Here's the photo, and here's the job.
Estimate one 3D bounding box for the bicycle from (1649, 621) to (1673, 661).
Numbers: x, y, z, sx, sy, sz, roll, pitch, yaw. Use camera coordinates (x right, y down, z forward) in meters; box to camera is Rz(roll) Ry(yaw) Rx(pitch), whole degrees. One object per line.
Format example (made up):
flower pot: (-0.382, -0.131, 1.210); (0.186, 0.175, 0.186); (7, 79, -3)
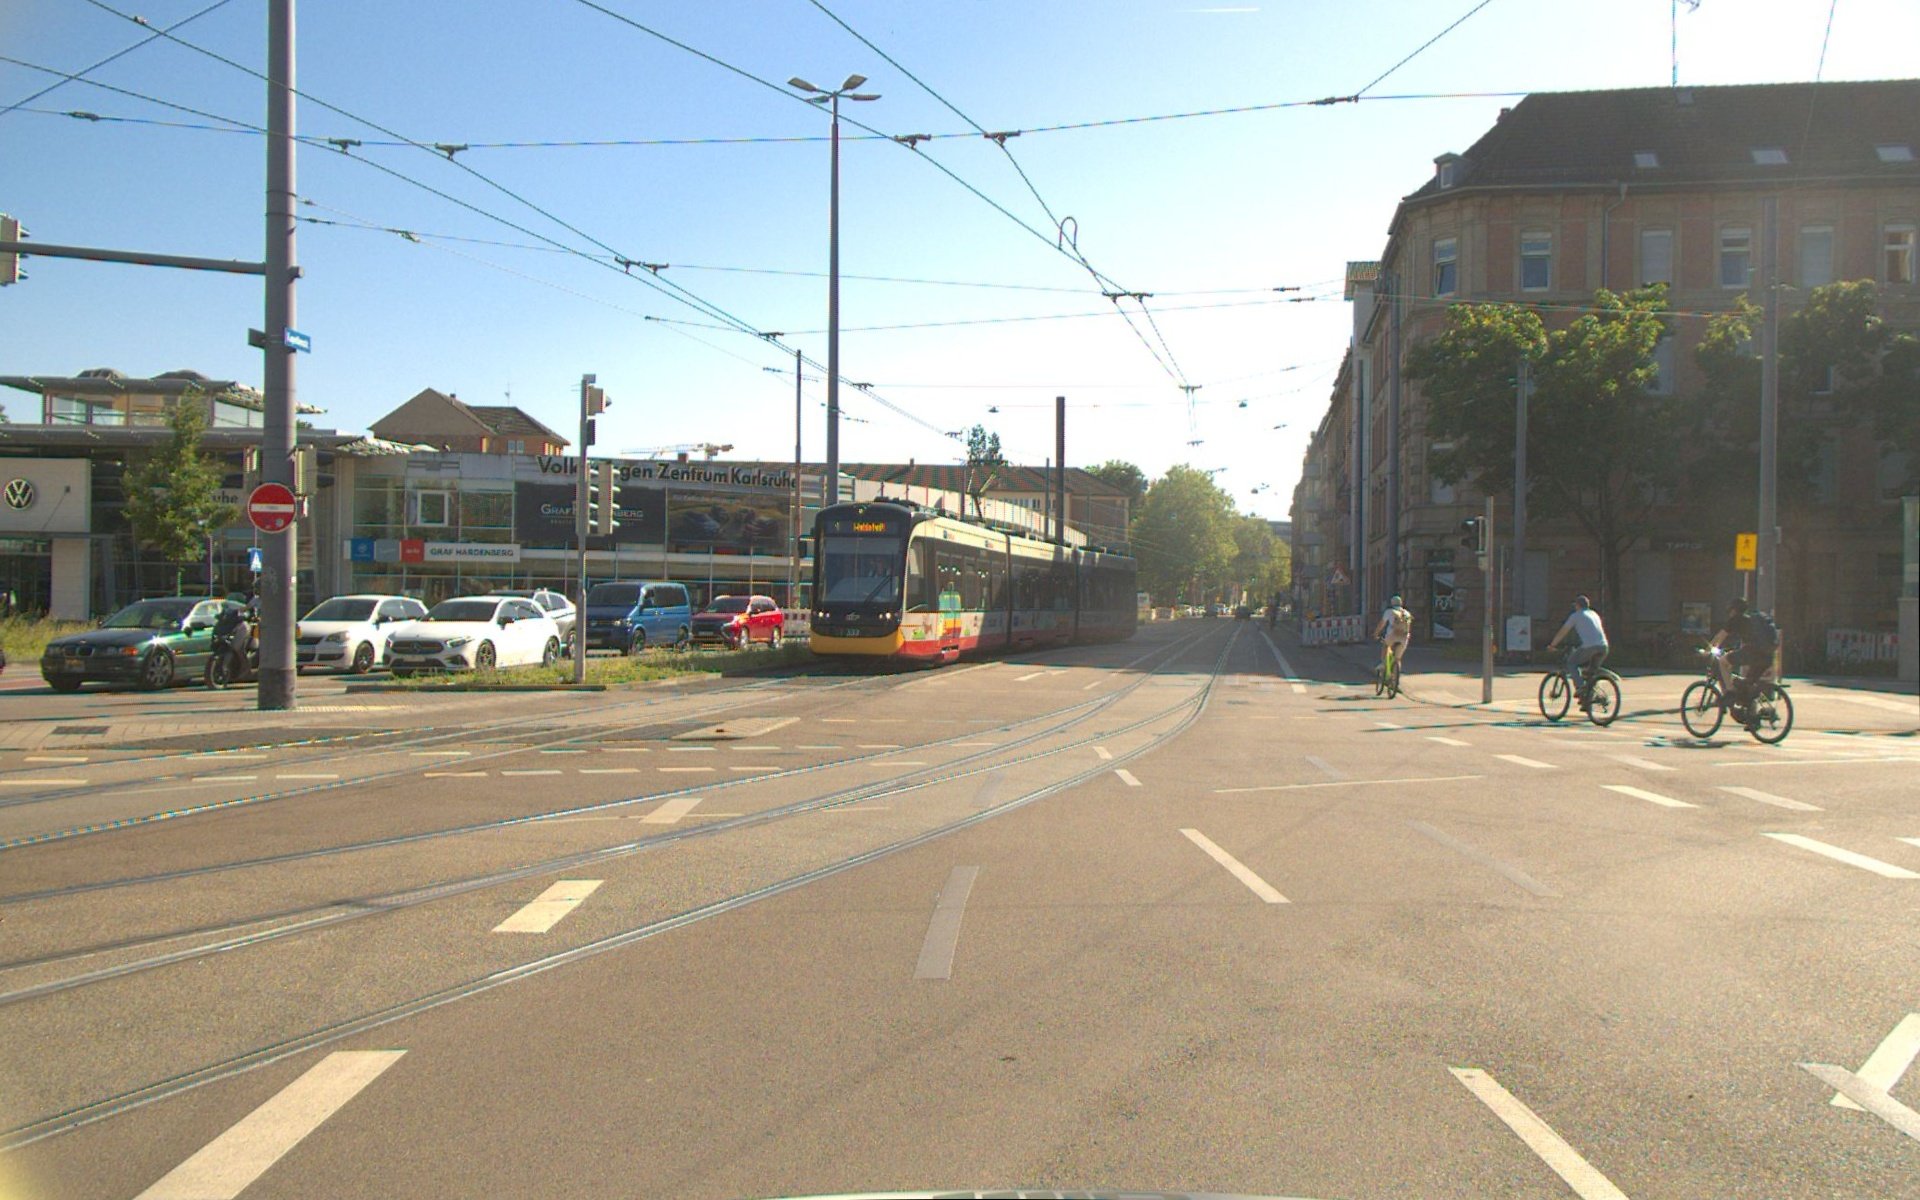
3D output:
bicycle: (19.738, 1.147, 46.564); (0.394, 1.080, 1.483); (2, 0, 15)

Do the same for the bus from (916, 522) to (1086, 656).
bus: (1.522, -0.297, 51.279); (2.780, 3.652, 10.733); (1, 0, 15)

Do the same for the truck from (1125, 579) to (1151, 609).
truck: (18.749, -0.600, 174.201); (2.484, 2.879, 6.380); (2, 0, 6)

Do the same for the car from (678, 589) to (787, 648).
car: (-7.048, 0.585, 51.666); (1.761, 1.749, 4.419); (0, -1, 15)

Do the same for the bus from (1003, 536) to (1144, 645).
bus: (4.464, -0.312, 61.932); (2.781, 3.652, 11.277); (1, 0, 17)

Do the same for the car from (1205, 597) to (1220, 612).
car: (32.124, 0.605, 210.439); (1.721, 1.726, 4.147); (2, 0, 11)

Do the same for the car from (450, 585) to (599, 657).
car: (-10.167, 0.496, 38.952); (1.764, 1.606, 4.168); (0, -1, 11)

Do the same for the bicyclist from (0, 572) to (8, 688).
bicyclist: (-14.905, 0.454, 25.049); (0.562, 1.772, 0.602); (2, 2, 10)

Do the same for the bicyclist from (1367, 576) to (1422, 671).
bicyclist: (8.098, 0.436, 30.861); (0.667, 1.713, 1.120); (2, -1, 0)

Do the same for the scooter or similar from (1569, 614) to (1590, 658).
scooter or similar: (17.533, 1.003, 46.798); (0.264, 1.206, 1.566); (2, 0, 11)

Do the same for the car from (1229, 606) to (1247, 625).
car: (31.628, 1.809, 188.104); (1.951, 2.049, 4.003); (2, 0, 11)

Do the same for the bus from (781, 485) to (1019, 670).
bus: (-0.988, -0.452, 39.706); (2.780, 3.652, 13.507); (1, 0, 10)

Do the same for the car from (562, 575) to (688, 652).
car: (-8.915, 0.360, 44.322); (1.764, 1.967, 4.168); (0, -1, 12)

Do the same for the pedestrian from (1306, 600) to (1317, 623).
pedestrian: (24.485, 0.805, 115.233); (0.781, 1.633, 0.653); (1, -1, 12)

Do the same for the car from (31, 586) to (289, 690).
car: (-12.486, 0.571, 26.089); (1.614, 1.505, 3.974); (-1, 0, 11)

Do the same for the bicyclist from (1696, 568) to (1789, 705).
bicyclist: (9.735, 0.449, 20.596); (0.611, 1.641, 0.980); (2, -1, -2)

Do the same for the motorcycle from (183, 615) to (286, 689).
motorcycle: (-10.959, 0.767, 25.026); (0.507, 1.065, 1.748); (0, 0, 12)

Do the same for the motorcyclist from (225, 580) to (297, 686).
motorcyclist: (-10.825, 0.501, 25.630); (0.572, 1.607, 0.944); (0, -1, 12)

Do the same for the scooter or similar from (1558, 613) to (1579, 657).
scooter or similar: (17.226, 0.989, 46.845); (0.264, 1.206, 1.566); (2, 0, 11)

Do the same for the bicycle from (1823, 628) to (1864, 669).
bicycle: (24.447, 1.324, 45.794); (0.395, 1.080, 1.462); (2, 0, 4)

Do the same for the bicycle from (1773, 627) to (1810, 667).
bicycle: (23.352, 1.301, 46.474); (0.394, 1.080, 1.463); (2, 0, 6)

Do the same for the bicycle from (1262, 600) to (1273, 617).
bicycle: (21.286, 0.604, 114.565); (0.666, 1.134, 2.709); (2, 0, 10)

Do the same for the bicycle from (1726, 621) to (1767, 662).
bicycle: (21.956, 1.149, 46.195); (0.395, 1.080, 1.351); (2, 0, -5)

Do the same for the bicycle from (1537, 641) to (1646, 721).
bicycle: (9.209, 1.156, 24.202); (0.380, 1.087, 1.924); (0, -1, -17)

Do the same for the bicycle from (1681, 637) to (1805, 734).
bicycle: (9.729, 1.038, 20.626); (0.521, 1.137, 1.932); (1, -1, -4)

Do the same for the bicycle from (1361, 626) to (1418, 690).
bicycle: (8.020, 1.072, 30.922); (0.521, 1.137, 1.933); (2, -1, 0)

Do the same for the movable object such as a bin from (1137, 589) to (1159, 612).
movable object such as a bin: (23.333, 0.071, 204.942); (2.442, 2.691, 5.994); (2, 0, 7)

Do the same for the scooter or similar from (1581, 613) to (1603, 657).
scooter or similar: (17.843, 0.990, 46.732); (0.264, 1.217, 1.566); (2, 0, 11)

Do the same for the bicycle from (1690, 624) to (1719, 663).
bicycle: (20.896, 1.213, 46.430); (0.394, 1.080, 1.353); (2, 0, 11)

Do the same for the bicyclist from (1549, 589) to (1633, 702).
bicyclist: (9.246, 0.655, 24.257); (0.770, 1.621, 0.882); (1, 0, -17)

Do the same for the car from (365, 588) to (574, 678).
car: (-8.935, 0.585, 30.579); (1.764, 1.457, 4.544); (2, 0, 11)

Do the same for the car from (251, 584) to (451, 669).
car: (-11.661, 0.501, 31.965); (1.764, 1.457, 4.003); (2, 0, 11)

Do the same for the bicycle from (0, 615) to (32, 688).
bicycle: (-14.939, 0.793, 25.128); (0.526, 1.092, 1.656); (0, 1, 10)
